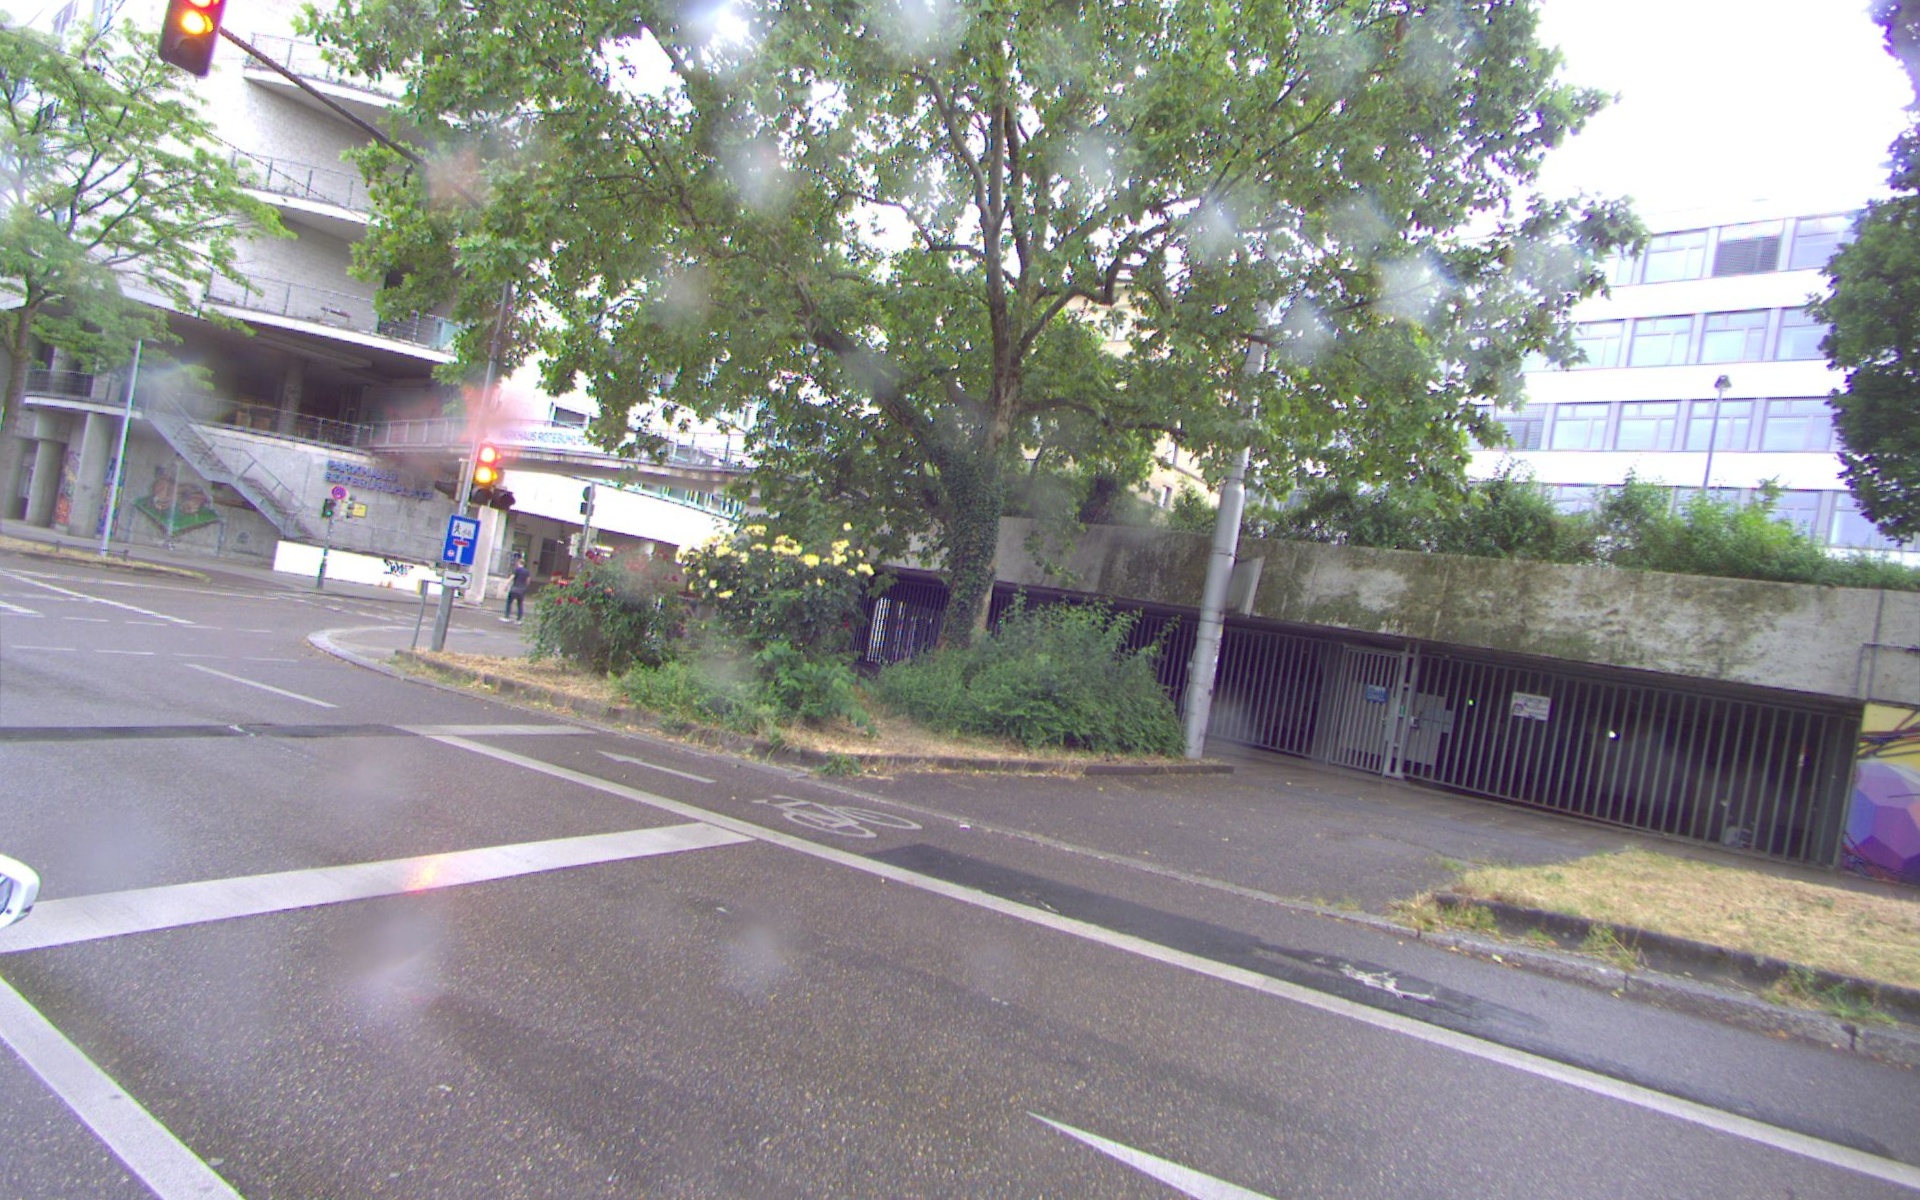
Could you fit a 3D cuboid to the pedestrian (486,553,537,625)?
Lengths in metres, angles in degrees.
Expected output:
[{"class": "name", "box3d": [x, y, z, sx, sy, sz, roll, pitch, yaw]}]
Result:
[{"class": "pedestrian", "box3d": [-13.016, -0.311, 29.219, 0.745, 1.932, 0.847, 8, -1, 31]}]
